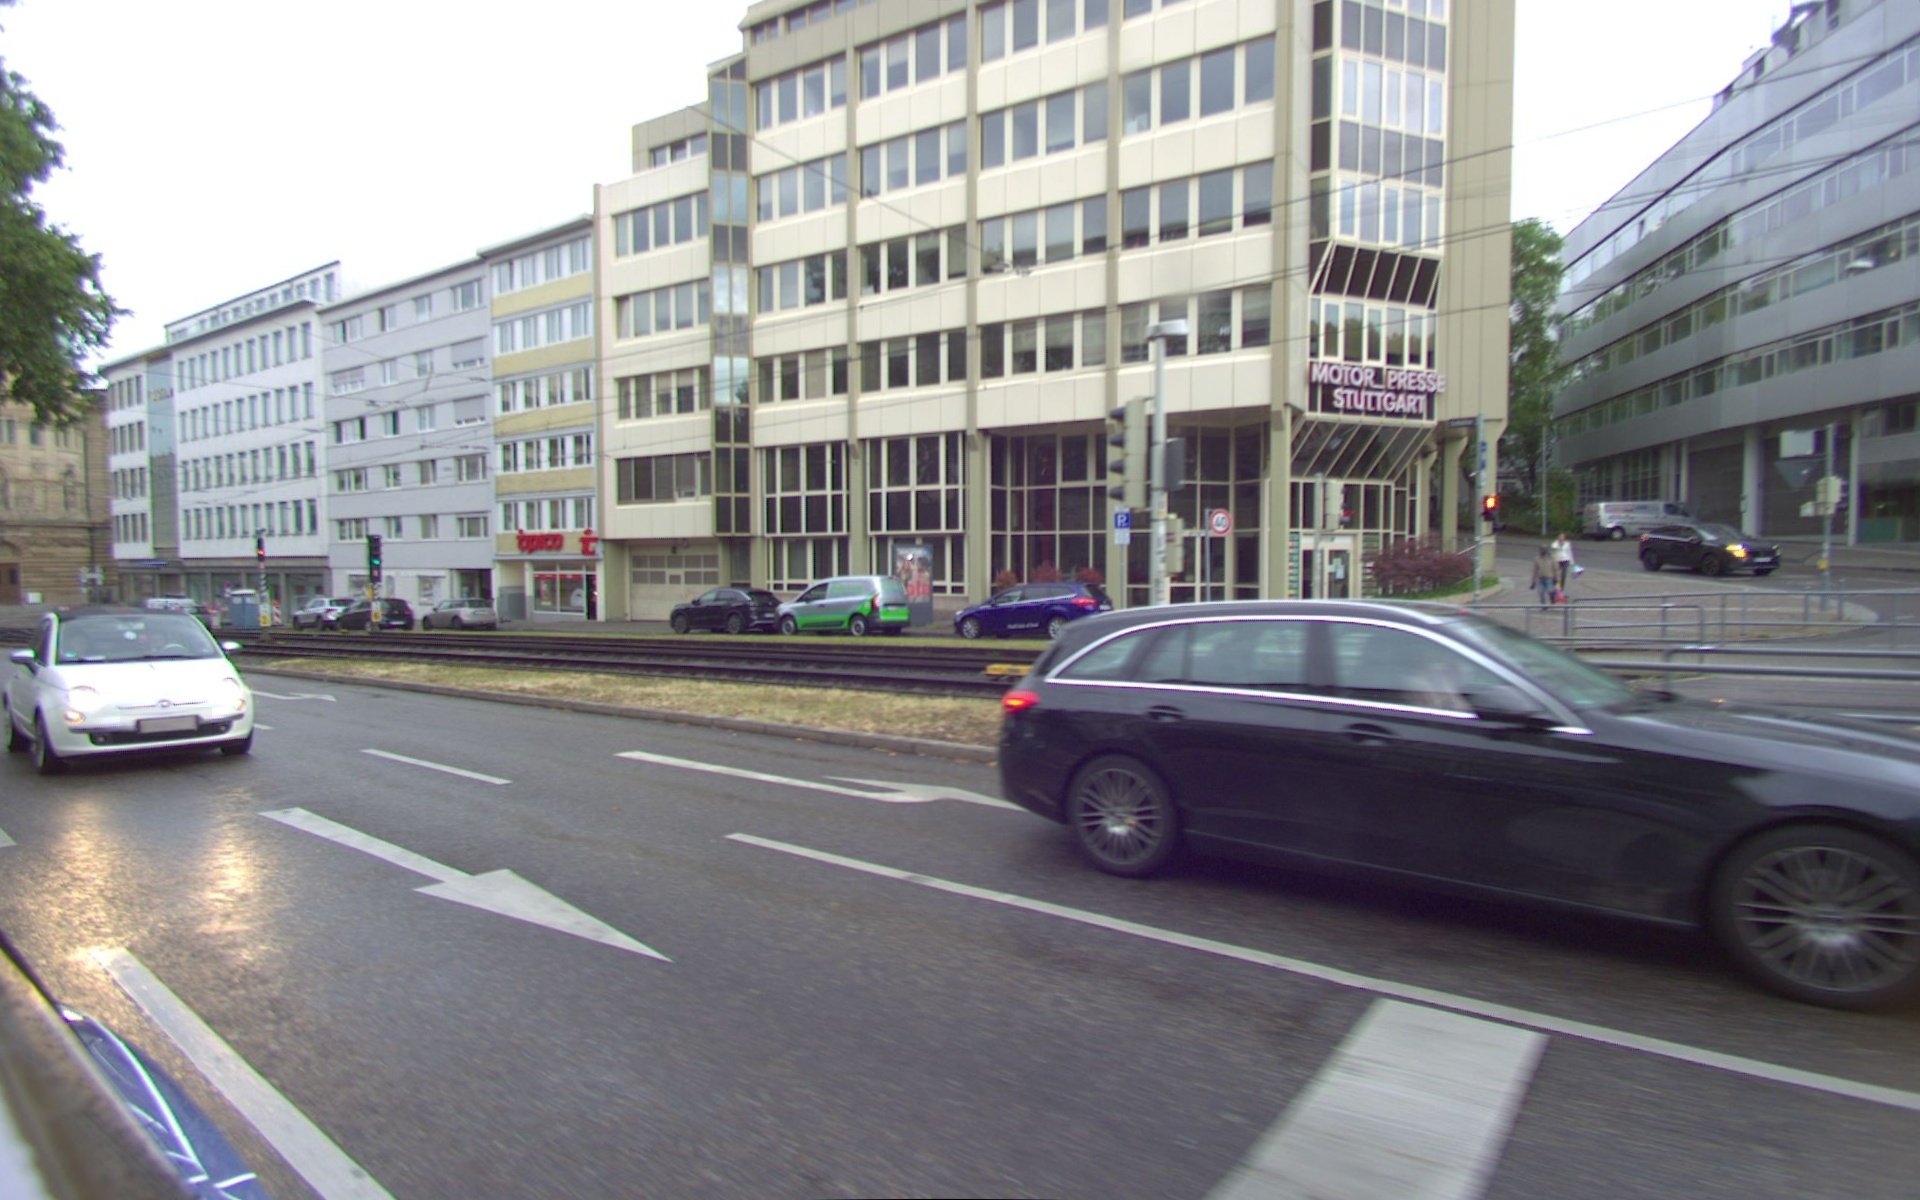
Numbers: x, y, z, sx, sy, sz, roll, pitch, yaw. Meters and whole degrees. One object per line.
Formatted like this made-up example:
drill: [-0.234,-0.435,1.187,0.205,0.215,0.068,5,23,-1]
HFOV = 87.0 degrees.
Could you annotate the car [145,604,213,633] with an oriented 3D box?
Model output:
car: [-40.386,0.931,52.326,3.861,1.367,1.614,-1,2,34]

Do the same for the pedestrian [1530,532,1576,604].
pedestrian: [15.041,-0.818,25.673,0.749,1.800,0.832,-4,4,-45]

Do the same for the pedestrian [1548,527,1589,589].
pedestrian: [16.650,-1.140,27.703,0.711,1.651,0.759,-1,3,6]

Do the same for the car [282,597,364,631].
car: [-31.288,0.683,49.714,4.066,1.524,1.869,0,3,33]

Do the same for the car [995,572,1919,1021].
car: [2.461,0.640,5.025,4.473,1.453,1.777,0,0,41]

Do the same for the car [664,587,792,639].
car: [-7.664,0.403,33.297,4.066,1.524,1.782,0,3,33]

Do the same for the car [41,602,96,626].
car: [-65.231,1.029,74.006,4.465,1.636,1.869,0,3,34]

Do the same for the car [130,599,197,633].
car: [-49.544,0.989,62.935,4.465,1.949,1.869,0,3,34]

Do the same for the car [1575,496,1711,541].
car: [34.685,-4.128,51.543,5.356,2.029,1.993,0,0,12]

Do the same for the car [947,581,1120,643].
car: [1.881,0.291,26.407,4.207,1.488,1.780,0,0,35]

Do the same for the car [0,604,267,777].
car: [-8.523,0.770,10.283,3.438,1.445,1.633,0,0,41]

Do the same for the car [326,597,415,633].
car: [-24.153,0.599,41.450,3.861,1.367,1.614,-1,2,34]

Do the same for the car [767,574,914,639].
car: [-3.618,0.175,30.411,4.204,1.759,1.782,0,3,32]

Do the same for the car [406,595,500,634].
car: [-21.677,0.581,43.230,4.066,1.524,1.782,0,3,33]

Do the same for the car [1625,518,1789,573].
car: [24.596,-1.873,33.594,1.974,1.591,4.884,-2,5,3]
